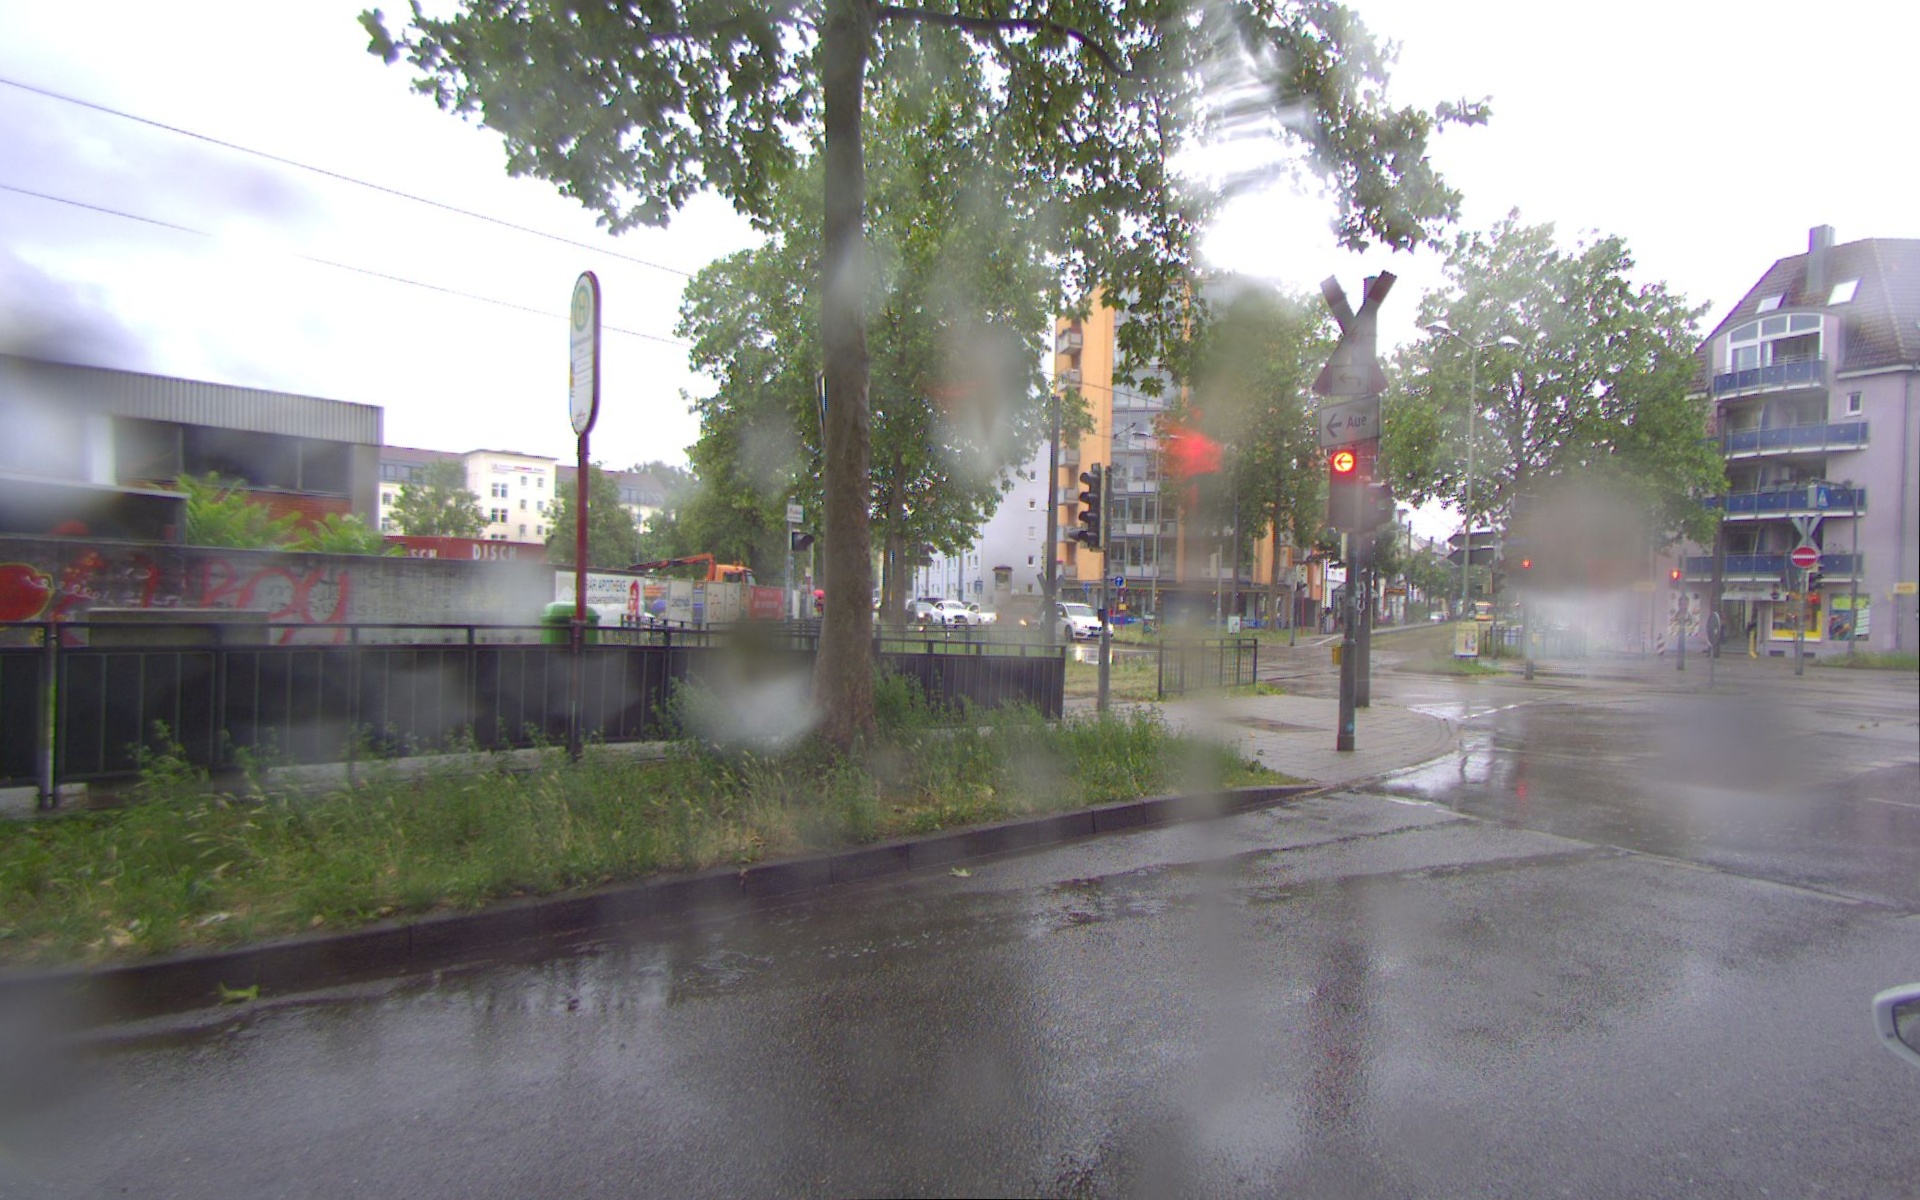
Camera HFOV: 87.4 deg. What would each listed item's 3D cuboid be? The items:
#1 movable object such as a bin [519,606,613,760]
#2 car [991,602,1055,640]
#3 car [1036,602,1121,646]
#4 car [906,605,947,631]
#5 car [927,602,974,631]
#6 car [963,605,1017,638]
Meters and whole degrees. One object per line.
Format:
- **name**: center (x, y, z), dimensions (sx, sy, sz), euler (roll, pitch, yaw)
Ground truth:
- **movable object such as a bin**: center (-2.955, 0.602, 7.539), dimensions (0.412, 1.104, 0.528), euler (0, -1, 44)
- **car**: center (2.843, 0.987, 46.238), dimensions (1.697, 1.661, 3.780), euler (1, -1, -17)
- **car**: center (4.698, 0.979, 40.466), dimensions (1.941, 1.673, 4.004), euler (1, -1, -17)
- **car**: center (-2.168, 1.163, 64.438), dimensions (1.697, 1.661, 3.780), euler (1, -1, -17)
- **car**: center (-0.599, 0.972, 58.396), dimensions (1.697, 1.661, 3.780), euler (1, -1, -17)
- **car**: center (1.514, 1.138, 52.309), dimensions (1.697, 1.661, 3.780), euler (1, -1, -17)
